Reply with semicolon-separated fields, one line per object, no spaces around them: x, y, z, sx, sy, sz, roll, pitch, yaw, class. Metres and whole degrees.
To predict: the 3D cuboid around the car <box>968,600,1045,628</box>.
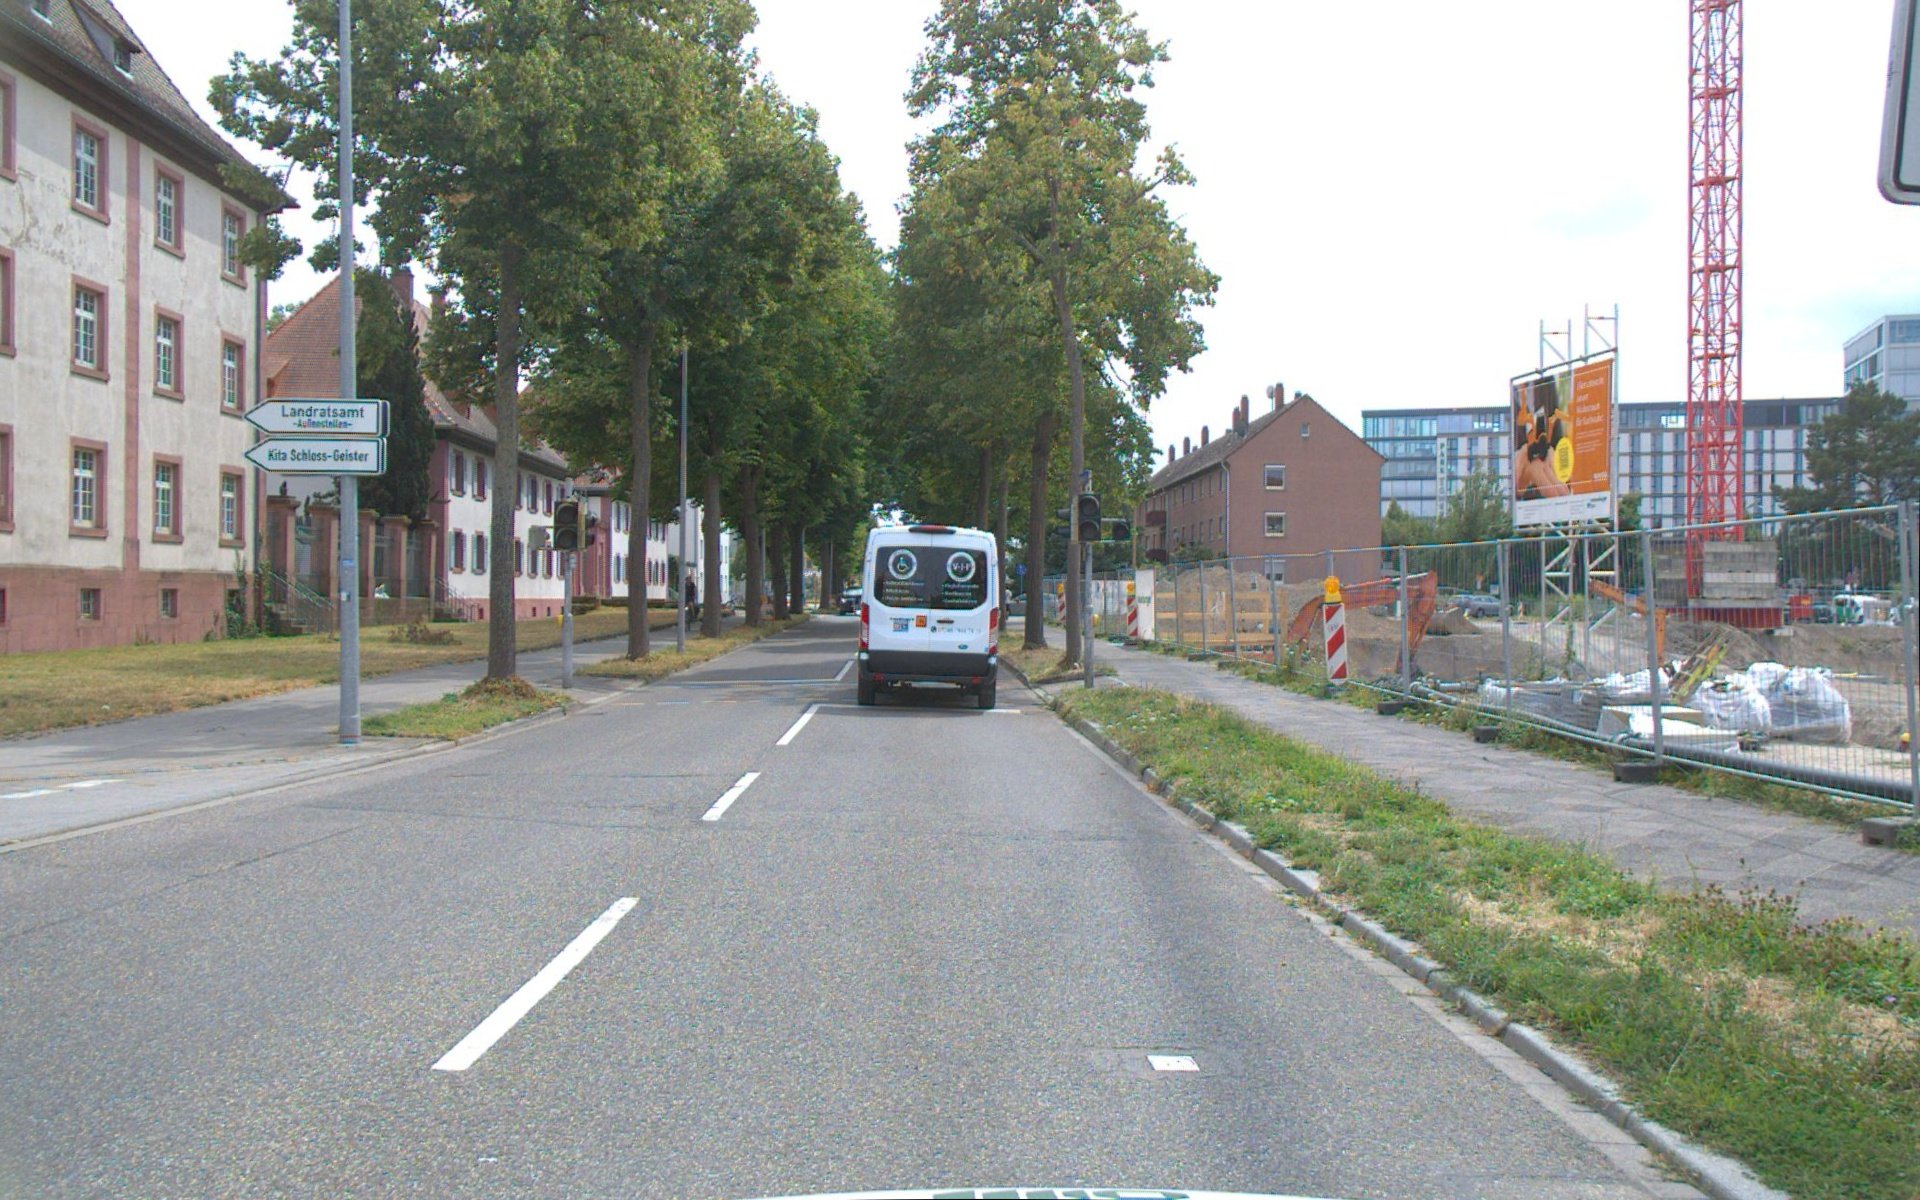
2.610;0.810;93.187;4.282;1.468;2.010;0;-2;-1;car

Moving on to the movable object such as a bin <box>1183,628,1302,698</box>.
11.502;2.536;67.138;4.582;2.635;3.135;-2;0;12;movable object such as a bin

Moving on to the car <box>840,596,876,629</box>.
-5.608;0.663;91.302;1.735;1.688;4.256;-2;0;-1;car

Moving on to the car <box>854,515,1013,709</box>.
-0.481;0.183;24.451;2.022;2.584;3.996;1;-1;-5;car

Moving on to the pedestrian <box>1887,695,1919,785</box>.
19.228;2.811;33.255;0.824;1.752;0.721;-2;-1;14;pedestrian

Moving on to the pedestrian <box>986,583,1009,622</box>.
1.793;0.111;79.158;0.864;1.846;0.889;-2;-1;17;pedestrian

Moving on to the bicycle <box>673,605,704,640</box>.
-9.294;0.755;56.646;0.708;1.114;2.150;4;0;-2;bicycle

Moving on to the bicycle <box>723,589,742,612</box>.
-11.706;0.039;85.161;0.708;1.114;2.224;4;0;-2;bicycle

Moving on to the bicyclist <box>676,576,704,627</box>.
-9.253;0.061;56.680;0.708;1.685;0.958;4;0;-2;bicyclist
